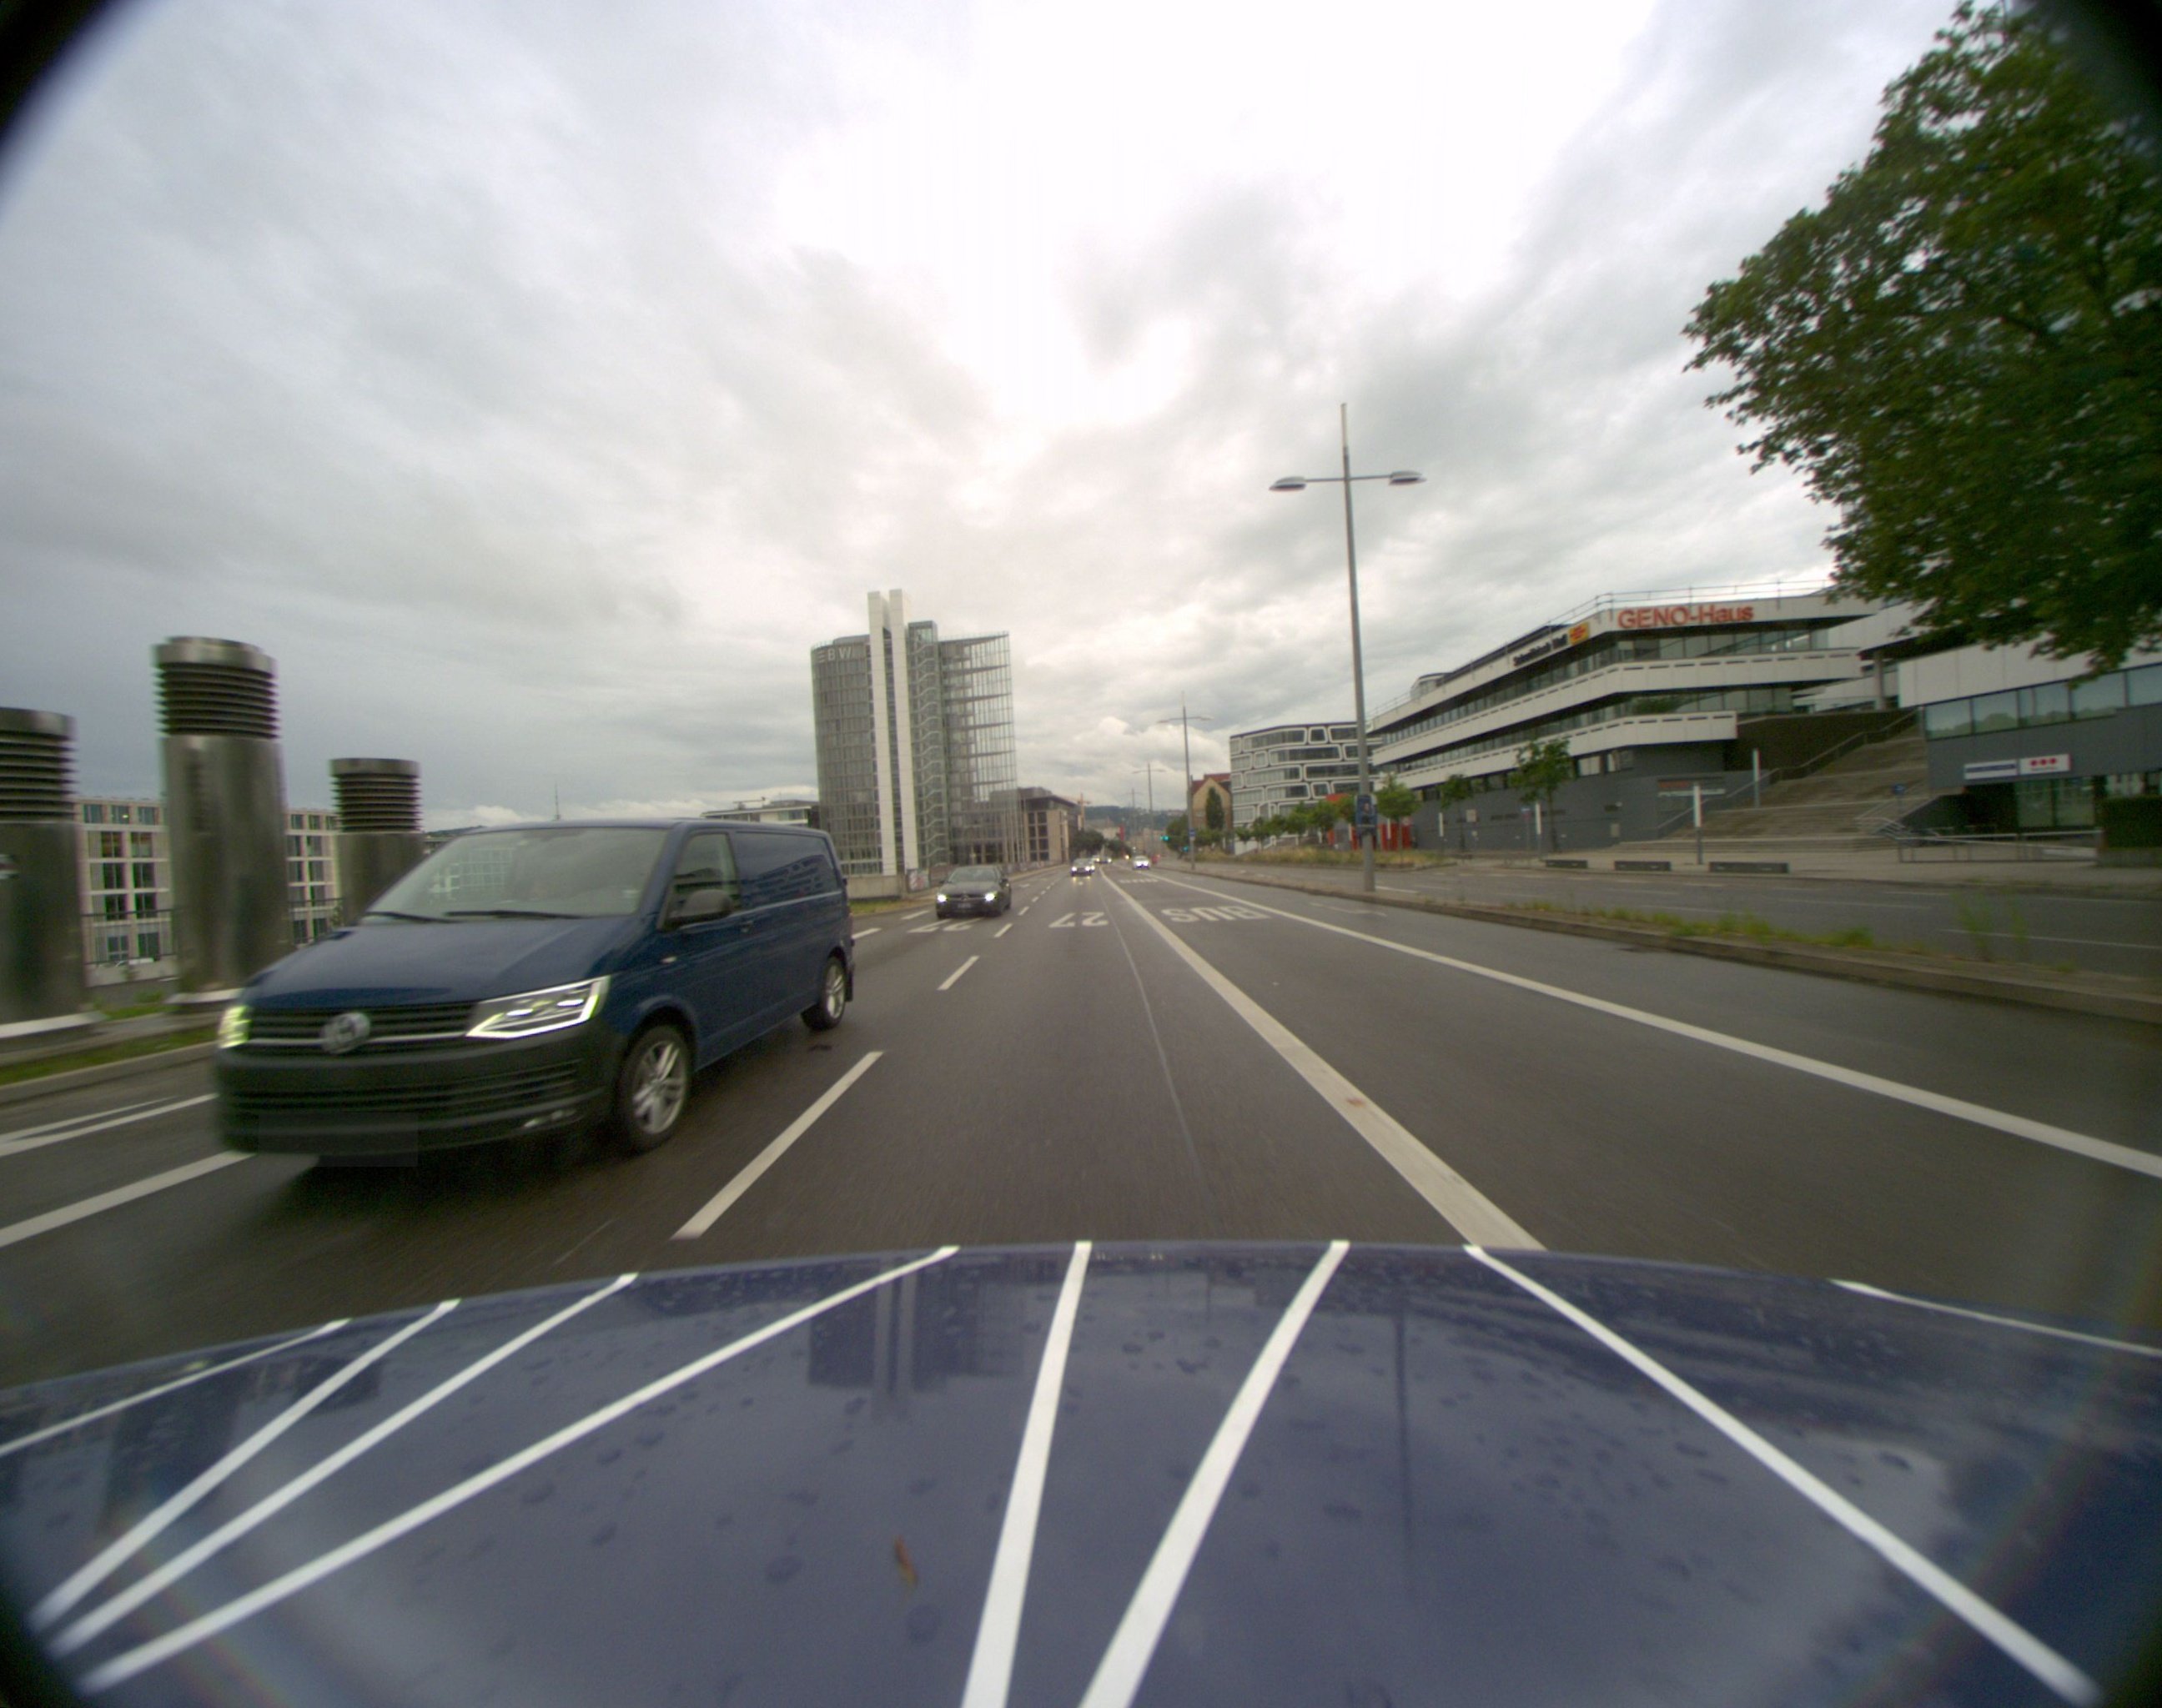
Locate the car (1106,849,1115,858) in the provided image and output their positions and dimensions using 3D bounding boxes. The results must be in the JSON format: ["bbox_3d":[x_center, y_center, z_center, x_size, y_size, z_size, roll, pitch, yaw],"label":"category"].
[{"bbox_3d":[7.017,-0.068,181.838,1.998,2.002,3.999,-2,1,0],"label":"car"}]

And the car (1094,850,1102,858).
[{"bbox_3d":[4.107,-0.009,184.968,1.998,2.002,3.999,-2,1,0],"label":"car"}]

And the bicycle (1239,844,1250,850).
[{"bbox_3d":[25.800,-1.146,120.060,0.610,0.852,1.653,-3,1,-32],"label":"bicycle"}]

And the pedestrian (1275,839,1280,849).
[{"bbox_3d":[32.703,-1.620,126.735,0.612,1.602,0.640,-4,1,5],"label":"pedestrian"}]

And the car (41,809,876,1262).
[{"bbox_3d":[-3.347,0.801,5.763,2.038,1.871,5.042,-2,0,1],"label":"car"}]

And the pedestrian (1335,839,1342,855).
[{"bbox_3d":[29.263,-0.755,86.345,0.631,1.797,0.628,-2,2,2],"label":"pedestrian"}]

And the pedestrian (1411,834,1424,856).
[{"bbox_3d":[27.533,-0.734,62.209,0.786,1.797,0.628,-2,2,2],"label":"pedestrian"}]

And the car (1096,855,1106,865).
[{"bbox_3d":[4.426,1.287,167.495,1.998,2.002,3.999,-2,1,0],"label":"car"}]

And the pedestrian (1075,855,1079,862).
[{"bbox_3d":[-0.858,0.971,167.547,0.660,1.601,0.547,-3,0,7],"label":"pedestrian"}]

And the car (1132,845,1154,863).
[{"bbox_3d":[6.818,-0.013,83.683,1.971,1.815,3.927,-3,0,0],"label":"car"}]

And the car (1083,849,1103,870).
[{"bbox_3d":[1.209,0.544,79.680,1.998,2.002,3.999,-2,1,0],"label":"car"}]

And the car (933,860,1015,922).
[{"bbox_3d":[-2.996,0.991,22.079,1.727,1.368,4.153,-2,2,0],"label":"car"}]

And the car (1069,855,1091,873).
[{"bbox_3d":[-0.057,0.803,64.578,1.684,1.379,3.475,-2,1,1],"label":"car"}]
